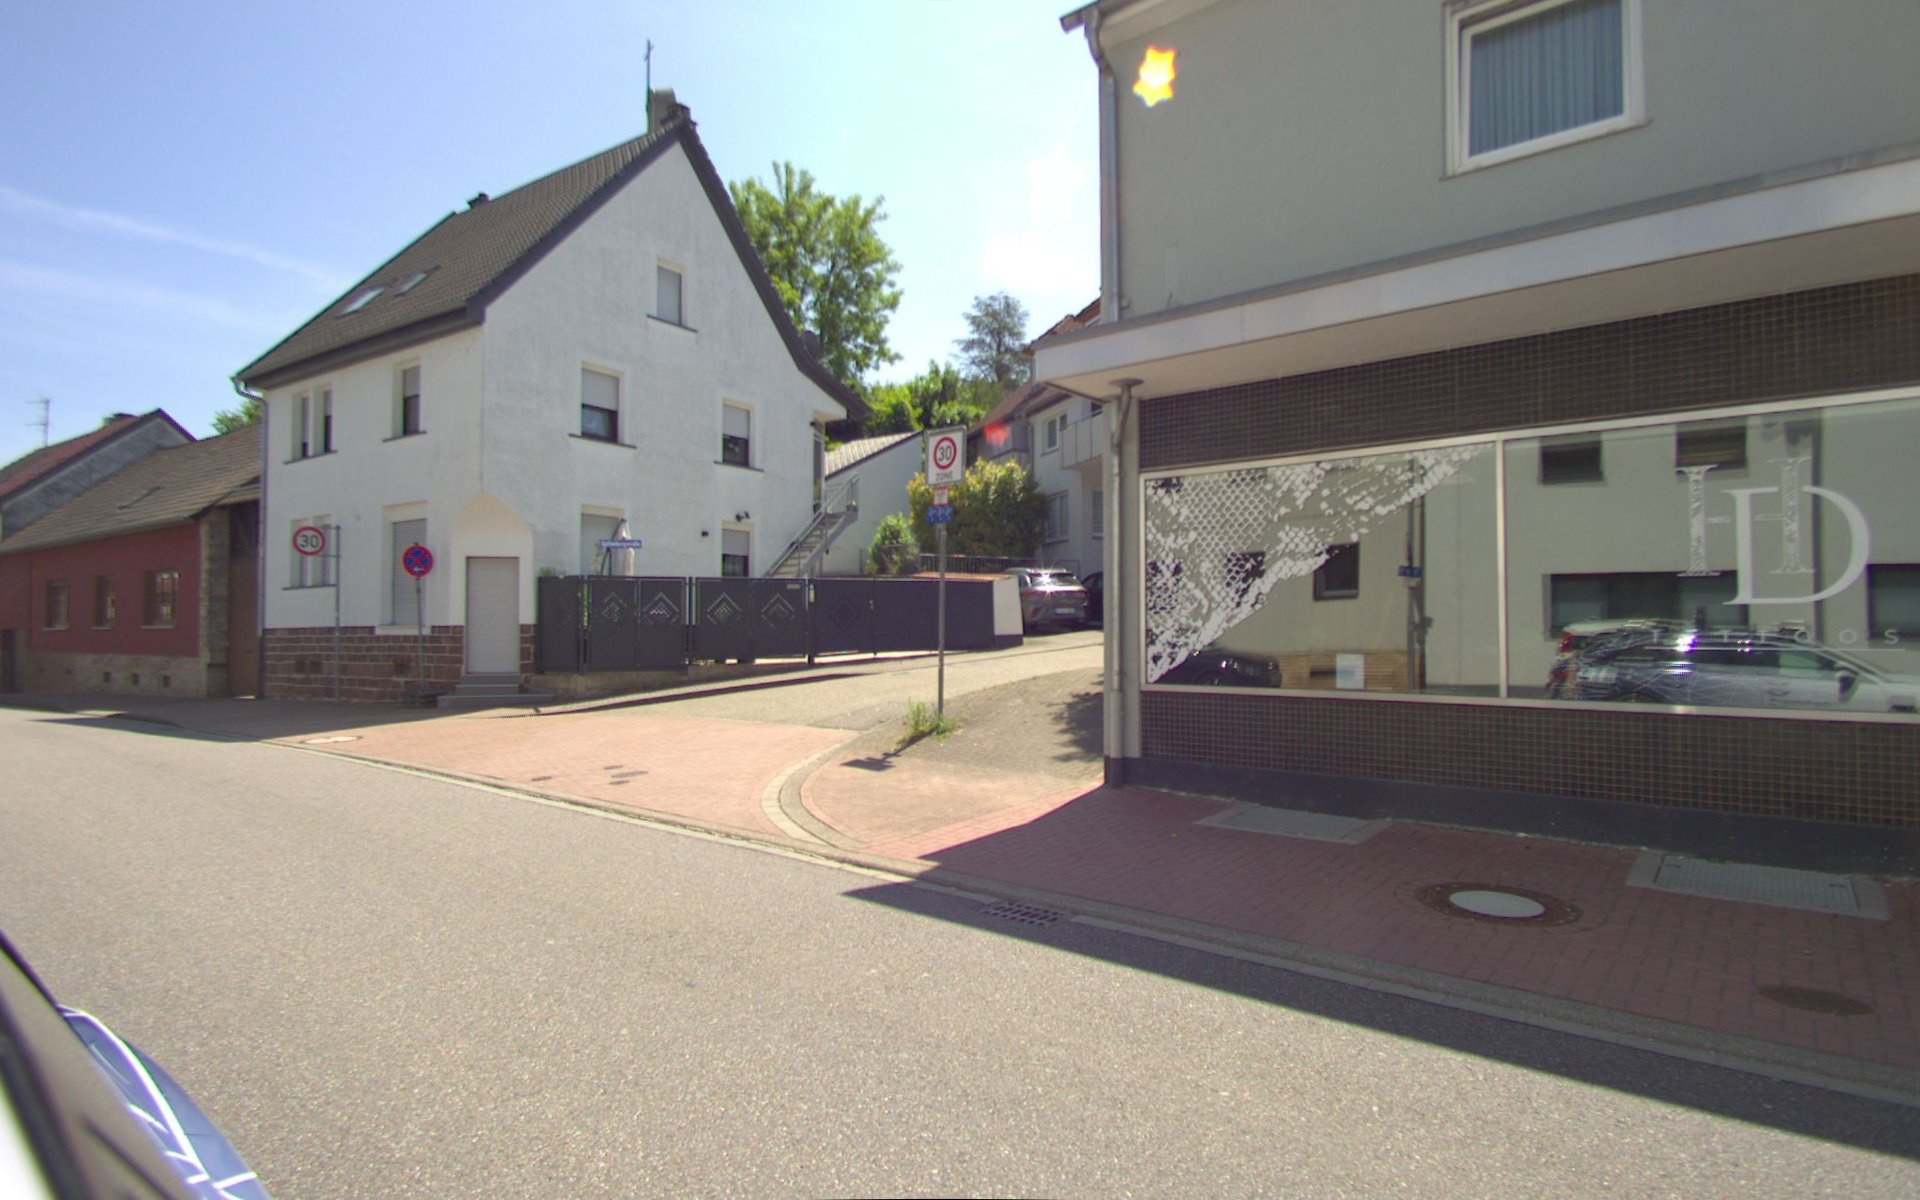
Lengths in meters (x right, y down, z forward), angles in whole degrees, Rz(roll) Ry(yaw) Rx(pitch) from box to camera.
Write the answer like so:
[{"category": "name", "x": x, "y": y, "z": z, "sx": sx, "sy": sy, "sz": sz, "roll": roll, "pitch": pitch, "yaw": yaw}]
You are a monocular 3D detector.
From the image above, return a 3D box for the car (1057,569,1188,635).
[{"category": "car", "x": 4.068, "y": 0.033, "z": 25.944, "sx": 1.757, "sy": 1.477, "sz": 3.782, "roll": -3, "pitch": 1, "yaw": -17}]

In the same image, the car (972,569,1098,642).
[{"category": "car", "x": 1.747, "y": 0.109, "z": 24.805, "sx": 1.757, "sy": 1.547, "sz": 3.782, "roll": -3, "pitch": 1, "yaw": -17}]
